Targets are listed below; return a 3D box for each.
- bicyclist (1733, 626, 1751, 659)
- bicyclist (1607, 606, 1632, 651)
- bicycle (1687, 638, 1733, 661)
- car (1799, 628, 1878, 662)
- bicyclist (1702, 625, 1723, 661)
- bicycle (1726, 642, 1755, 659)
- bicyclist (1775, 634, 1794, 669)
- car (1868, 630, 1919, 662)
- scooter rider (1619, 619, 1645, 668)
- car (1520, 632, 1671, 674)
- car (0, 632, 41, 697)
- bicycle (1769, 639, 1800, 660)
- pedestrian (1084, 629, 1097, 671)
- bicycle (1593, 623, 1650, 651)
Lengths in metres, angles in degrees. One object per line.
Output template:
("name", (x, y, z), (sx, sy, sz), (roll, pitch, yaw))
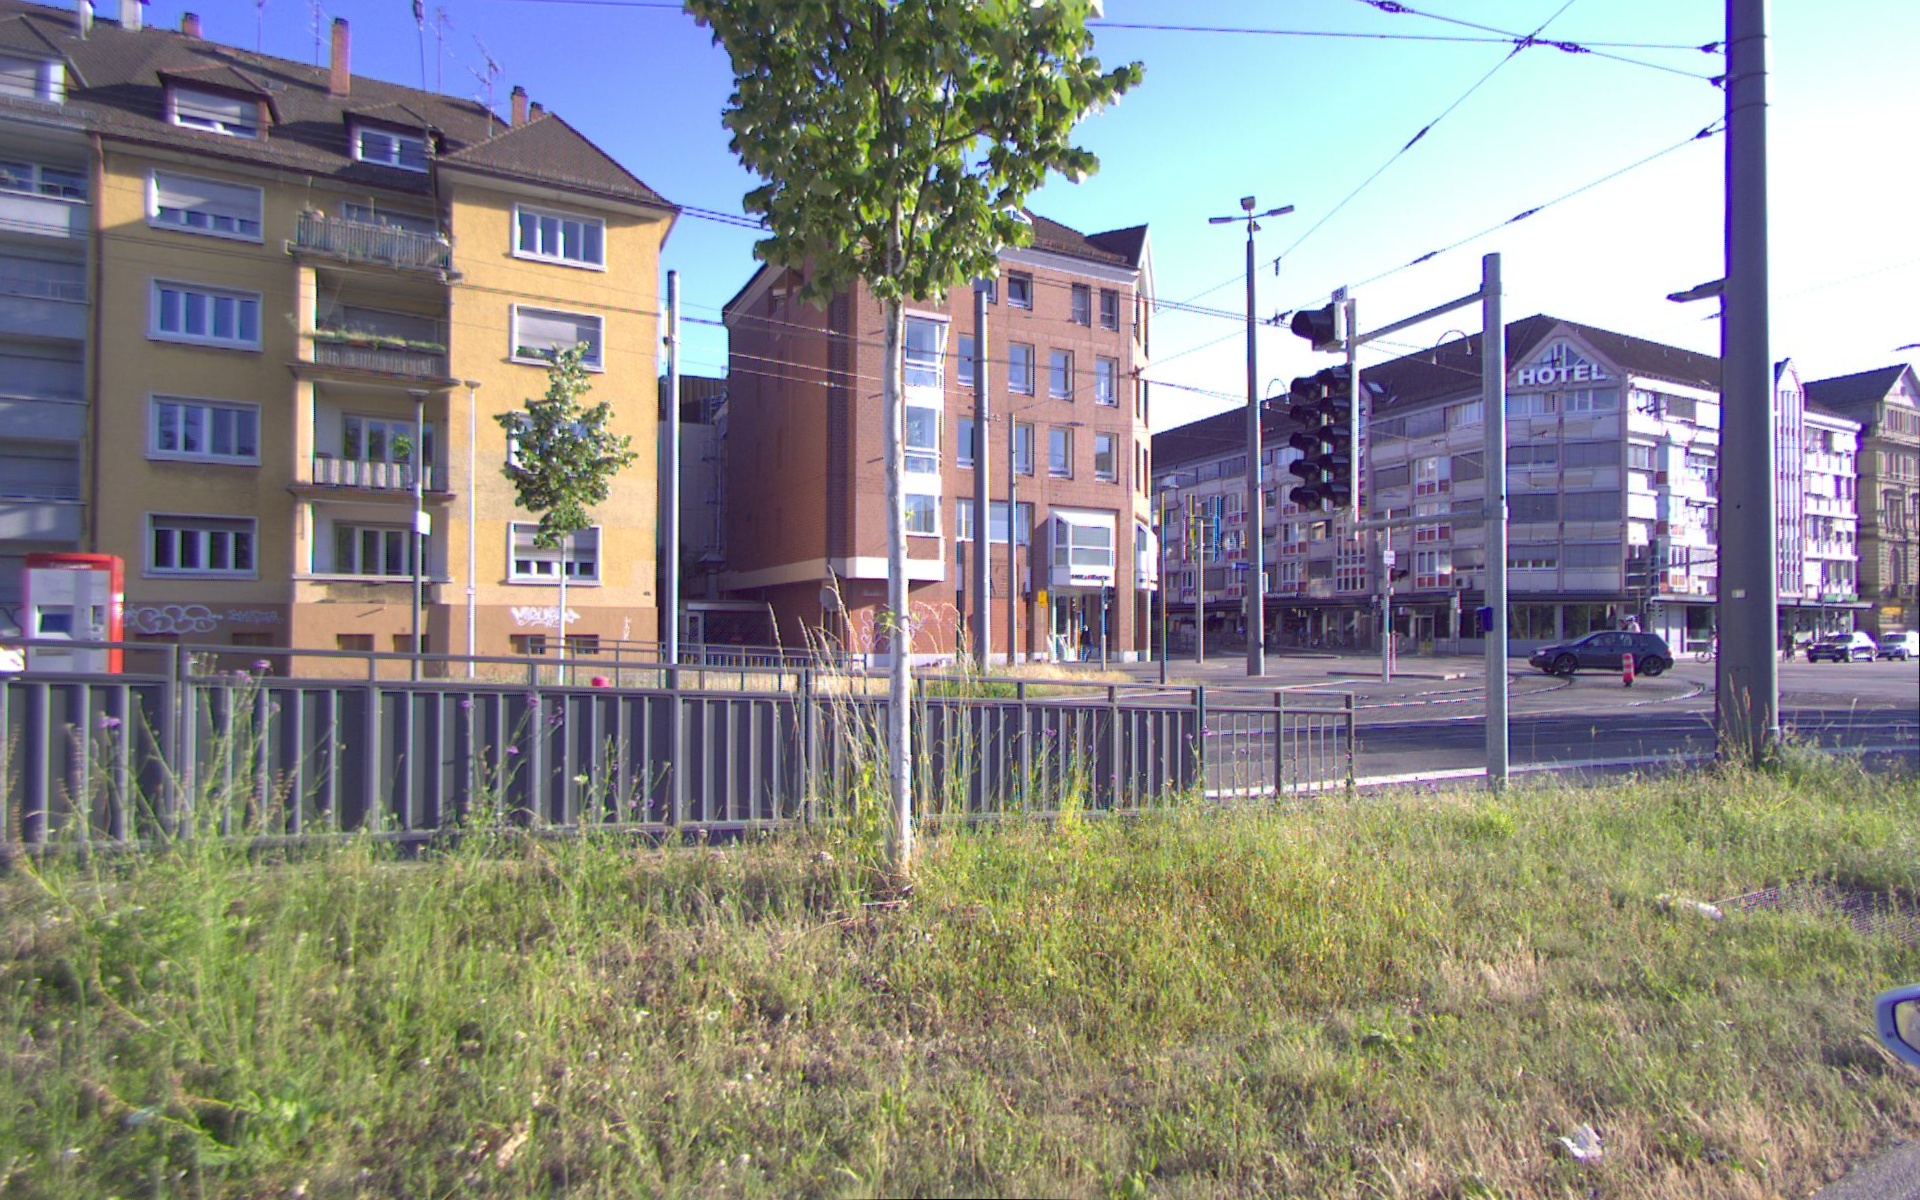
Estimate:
("bicyclist", (44.919, 2.417, 57.678), (0.633, 1.886, 0.591), (1, -2, -26))
("bicyclist", (25.642, 1.094, 39.028), (0.534, 1.734, 0.658), (1, -2, -37))
("bicycle", (36.270, 2.400, 48.592), (0.534, 1.073, 1.719), (1, -2, -37))
("car", (49.845, 2.551, 57.001), (3.947, 1.884, 1.988), (1, -2, -26))
("bicyclist", (36.342, 2.055, 48.497), (0.533, 1.734, 0.659), (1, -2, -37))
("bicycle", (44.735, 2.899, 57.570), (1.812, 0.927, 0.596), (1, -2, -27))
("bicyclist", (48.305, 3.011, 58.854), (0.768, 2.040, 0.601), (1, -1, -24))
("car", (56.981, 2.732, 60.558), (3.947, 1.884, 1.988), (1, -2, -26))
("scooter rider", (24.174, 1.564, 36.115), (0.523, 1.734, 0.657), (2, -2, -43))
("car", (21.075, 1.734, 33.498), (3.921, 1.305, 1.848), (-1, -2, 19))
("car", (-24.084, 1.495, 23.438), (3.509, 1.505, 1.740), (1, -2, -28))
("bicycle", (48.321, 2.875, 58.880), (1.939, 1.216, 0.606), (1, -1, -23))
("pedestrian", (5.750, 2.199, 44.245), (0.532, 1.831, 0.502), (0, -1, 0))
("bicycle", (25.671, 1.434, 38.982), (0.530, 1.086, 1.763), (1, -2, -37))
